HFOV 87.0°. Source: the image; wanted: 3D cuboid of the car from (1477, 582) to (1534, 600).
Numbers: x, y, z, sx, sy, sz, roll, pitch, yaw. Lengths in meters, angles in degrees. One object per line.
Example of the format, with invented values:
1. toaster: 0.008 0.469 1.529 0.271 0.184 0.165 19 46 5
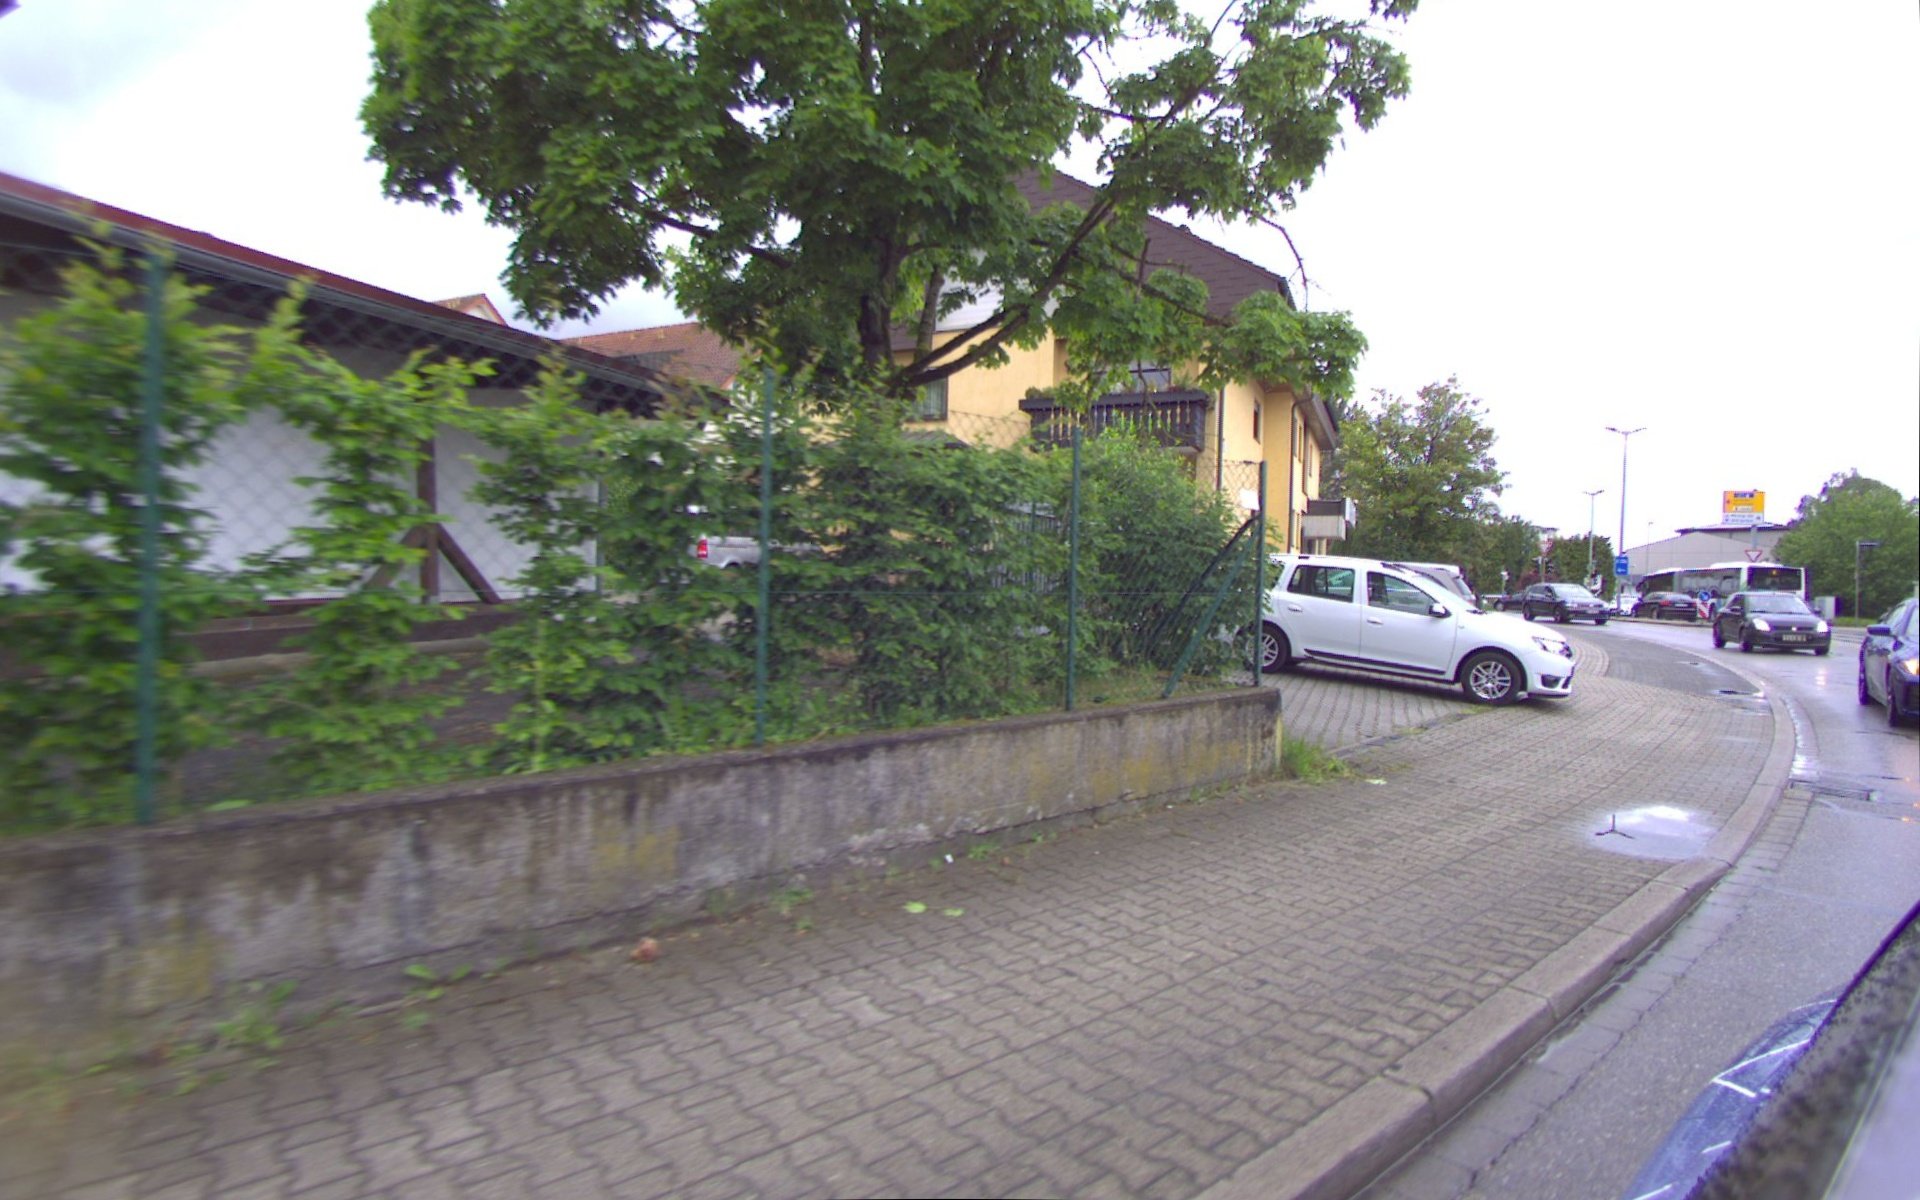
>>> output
1. car: 47.712 -0.804 88.612 1.958 1.482 4.008 1 2 -25

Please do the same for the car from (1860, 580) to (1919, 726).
1. car: 12.213 0.555 12.017 1.904 1.514 4.291 2 2 37

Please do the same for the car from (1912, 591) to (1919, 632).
1. car: 33.908 0.401 34.282 1.579 1.440 3.656 1 0 30

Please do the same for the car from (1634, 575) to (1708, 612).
1. car: 34.825 -0.378 49.678 1.844 1.536 4.264 5 4 21

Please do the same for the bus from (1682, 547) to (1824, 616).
1. bus: 38.944 -0.944 50.110 2.560 3.037 8.359 3 2 17

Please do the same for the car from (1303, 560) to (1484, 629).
1. car: 11.759 -0.203 27.683 4.328 1.440 1.683 6 4 23

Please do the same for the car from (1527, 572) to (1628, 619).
1. car: 25.677 -0.231 42.274 1.935 1.771 4.302 -1 3 6

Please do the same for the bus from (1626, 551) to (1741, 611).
1. bus: 41.540 -1.109 58.484 2.521 3.037 9.153 3 2 17

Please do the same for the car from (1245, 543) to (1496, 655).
1. car: 7.592 -0.084 18.903 4.017 1.615 1.889 6 4 25

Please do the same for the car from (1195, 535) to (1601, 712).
1. car: 5.388 0.167 12.711 4.324 1.615 1.746 7 4 32

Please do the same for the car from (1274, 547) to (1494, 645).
1. car: 8.927 -0.139 21.547 4.014 1.615 1.881 6 4 23

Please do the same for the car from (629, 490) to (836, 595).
1. car: -4.841 -1.249 22.389 1.978 2.038 4.897 2 3 24

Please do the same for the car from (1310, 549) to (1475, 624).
1. car: 12.858 -0.443 30.306 4.262 1.802 1.890 6 3 23

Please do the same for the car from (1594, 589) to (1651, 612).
1. car: 50.735 0.041 77.478 3.918 1.660 2.003 0 2 -28

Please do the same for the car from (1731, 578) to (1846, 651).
1. car: 20.868 0.291 25.636 1.734 1.537 3.956 1 3 32
